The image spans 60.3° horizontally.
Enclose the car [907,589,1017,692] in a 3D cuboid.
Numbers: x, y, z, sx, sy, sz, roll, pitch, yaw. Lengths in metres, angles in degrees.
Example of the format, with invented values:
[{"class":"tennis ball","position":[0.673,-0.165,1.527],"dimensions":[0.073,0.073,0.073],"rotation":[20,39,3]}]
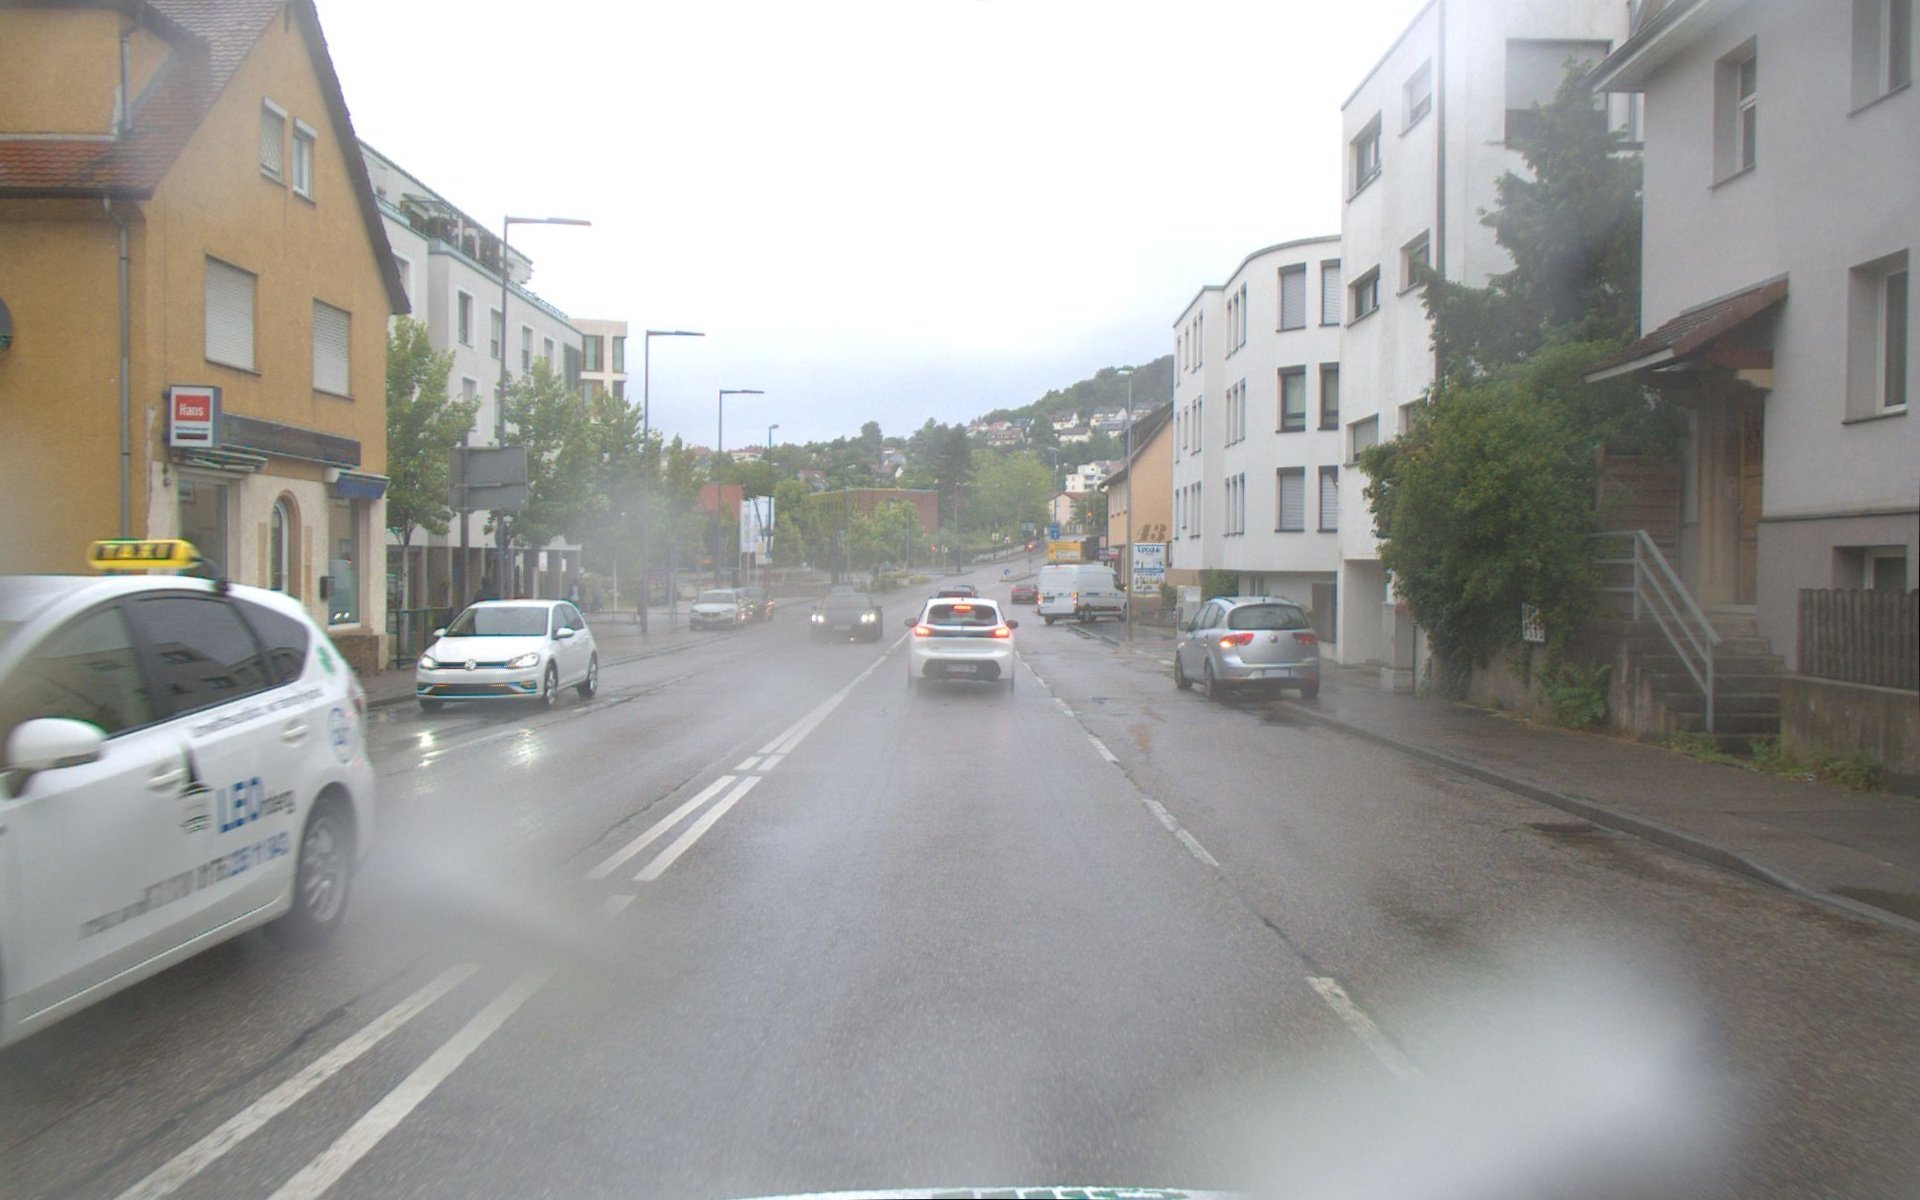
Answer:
[{"class":"car","position":[0.076,0.637,26.976],"dimensions":[1.656,1.546,3.933],"rotation":[0,-1,1]}]

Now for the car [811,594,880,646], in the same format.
[{"class":"car","position":[-3.338,0.587,48.870],"dimensions":[1.732,1.438,4.525],"rotation":[-1,-1,-1]}]

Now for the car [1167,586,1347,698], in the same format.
[{"class":"car","position":[4.685,0.687,26.746],"dimensions":[1.971,1.650,4.358],"rotation":[1,-2,-2]}]

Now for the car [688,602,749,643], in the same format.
[{"class":"car","position":[-9.017,0.852,62.053],"dimensions":[1.759,1.488,4.476],"rotation":[0,-1,-2]}]

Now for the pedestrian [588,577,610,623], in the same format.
[{"class":"pedestrian","position":[-17.110,0.004,78.395],"dimensions":[0.731,2.183,0.771],"rotation":[0,-1,13]}]

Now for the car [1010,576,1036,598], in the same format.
[{"class":"car","position":[4.618,-0.956,121.408],"dimensions":[1.699,1.411,3.353],"rotation":[1,4,-1]}]

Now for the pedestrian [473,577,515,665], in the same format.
[{"class":"pedestrian","position":[-9.829,0.433,34.898],"dimensions":[0.786,1.819,0.879],"rotation":[0,-1,-11]}]

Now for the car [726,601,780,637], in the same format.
[{"class":"car","position":[-9.269,0.837,74.277],"dimensions":[1.656,1.536,4.579],"rotation":[-1,-1,3]}]

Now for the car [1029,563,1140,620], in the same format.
[{"class":"car","position":[5.632,-0.340,73.860],"dimensions":[2.248,2.424,6.611],"rotation":[-1,-1,30]}]

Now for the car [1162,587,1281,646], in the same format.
[{"class":"car","position":[9.081,0.555,57.565],"dimensions":[3.716,1.556,1.820],"rotation":[7,1,-1]}]

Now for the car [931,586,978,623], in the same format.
[{"class":"car","position":[-0.193,0.151,61.740],"dimensions":[1.706,1.318,3.334],"rotation":[-1,0,0]}]

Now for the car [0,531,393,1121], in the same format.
[{"class":"car","position":[-3.594,0.642,5.471],"dimensions":[1.840,1.637,4.718],"rotation":[0,-1,0]}]

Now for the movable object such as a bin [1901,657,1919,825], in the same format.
[{"class":"movable object such as a bin","position":[6.444,0.915,10.413],"dimensions":[0.564,1.066,0.830],"rotation":[-1,1,0]}]

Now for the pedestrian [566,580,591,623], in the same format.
[{"class":"pedestrian","position":[-15.718,0.067,68.179],"dimensions":[0.792,1.768,1.003],"rotation":[-1,-1,-1]}]

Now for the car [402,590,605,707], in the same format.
[{"class":"car","position":[-6.334,0.649,23.405],"dimensions":[1.615,1.442,4.138],"rotation":[-3,-1,1]}]
